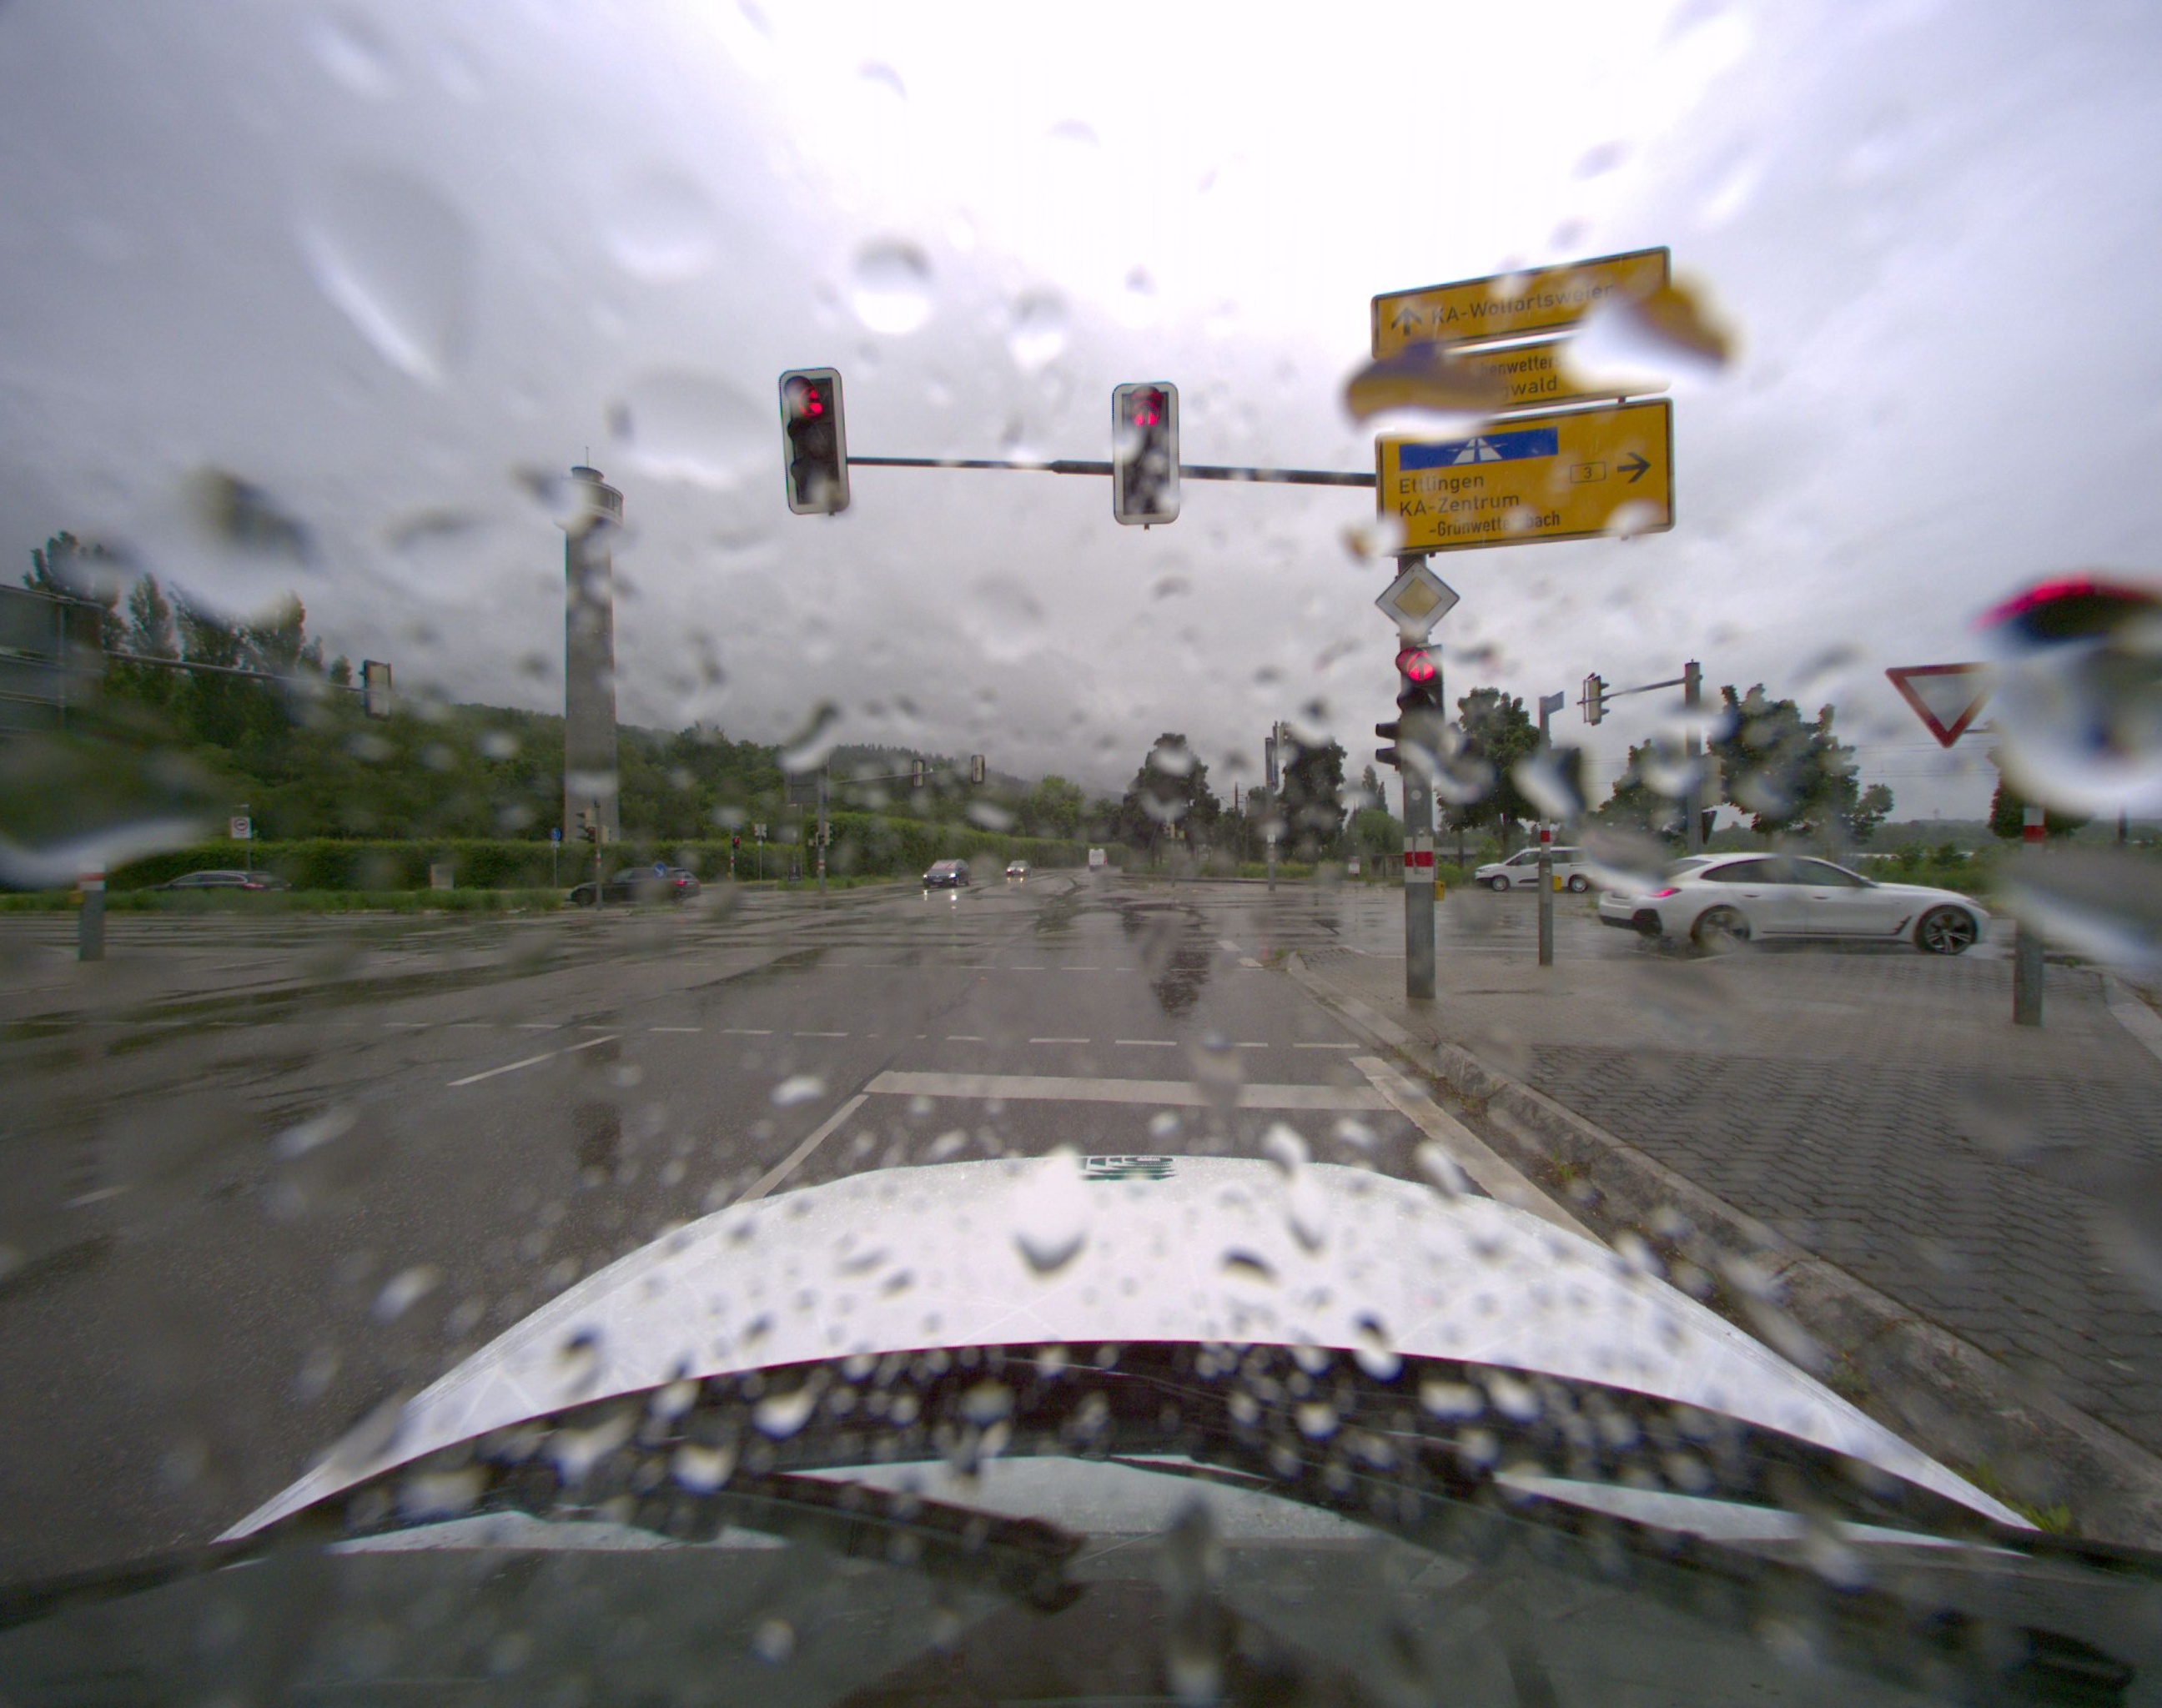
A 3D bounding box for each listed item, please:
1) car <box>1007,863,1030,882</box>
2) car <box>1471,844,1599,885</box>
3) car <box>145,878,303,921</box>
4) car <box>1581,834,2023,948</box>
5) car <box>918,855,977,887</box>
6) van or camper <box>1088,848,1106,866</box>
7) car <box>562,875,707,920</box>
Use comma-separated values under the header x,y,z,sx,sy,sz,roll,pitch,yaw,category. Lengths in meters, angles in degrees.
x,y,z,sx,sy,sz,roll,pitch,yaw,category
-5.354,1.583,70.370,1.552,1.481,3.363,-1,0,2,car
18.136,0.412,32.762,4.296,1.553,1.832,-1,0,21,car
-34.185,1.794,32.536,4.646,1.553,1.825,-1,0,5,car
10.663,0.541,12.431,4.853,1.553,1.804,-1,0,9,car
-7.224,0.876,44.463,1.869,1.573,4.654,-3,0,7,car
1.990,0.326,100.634,2.145,2.169,4.867,-1,0,2,van or camper
-17.222,1.669,31.521,4.644,1.553,1.826,-1,0,7,car
